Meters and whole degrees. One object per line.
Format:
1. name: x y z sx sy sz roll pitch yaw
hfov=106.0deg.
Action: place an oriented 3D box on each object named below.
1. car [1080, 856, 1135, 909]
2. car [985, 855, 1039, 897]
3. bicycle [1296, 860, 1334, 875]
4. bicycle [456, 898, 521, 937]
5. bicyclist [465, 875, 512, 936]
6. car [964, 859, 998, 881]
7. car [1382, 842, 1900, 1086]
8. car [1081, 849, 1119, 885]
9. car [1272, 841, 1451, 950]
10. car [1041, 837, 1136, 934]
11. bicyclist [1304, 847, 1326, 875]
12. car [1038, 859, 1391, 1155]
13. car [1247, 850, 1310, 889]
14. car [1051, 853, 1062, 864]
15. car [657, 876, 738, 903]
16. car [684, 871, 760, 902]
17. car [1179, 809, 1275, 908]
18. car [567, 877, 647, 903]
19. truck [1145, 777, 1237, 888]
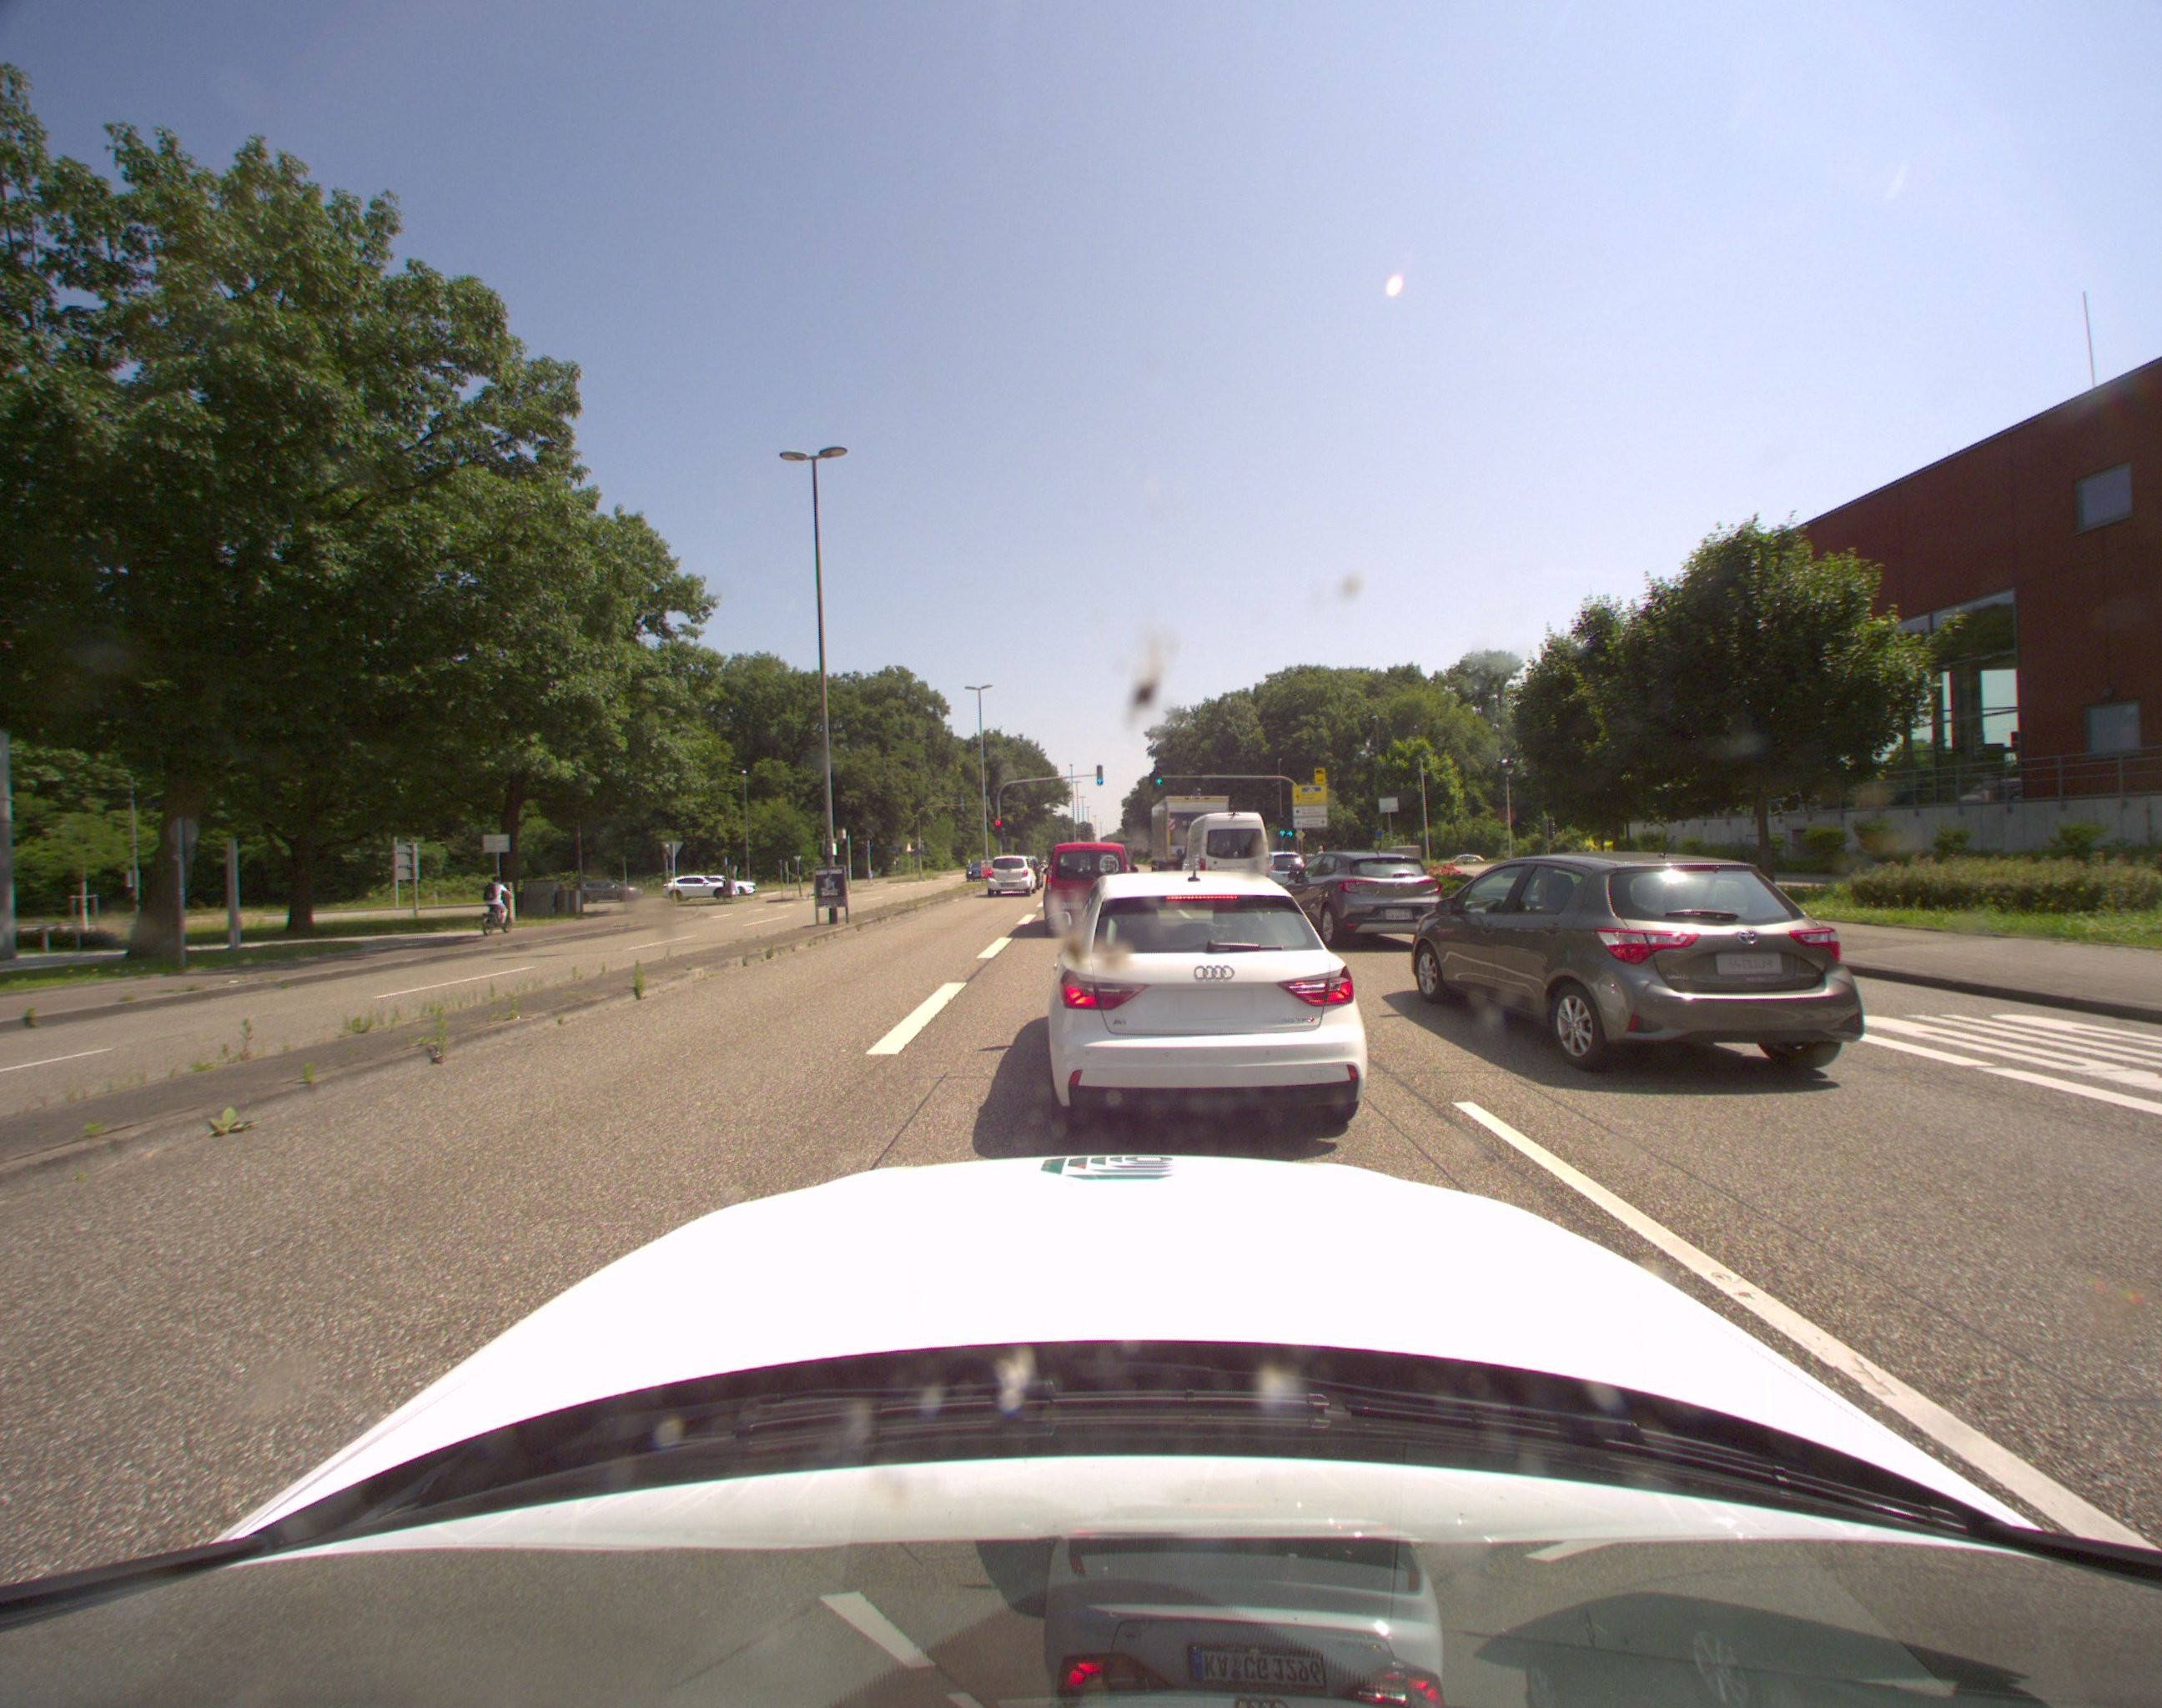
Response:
1. car: 0.837 0.892 27.514 1.706 1.631 4.091 -1 0 0
2. car: -2.627 0.795 31.881 1.706 1.493 4.091 -1 0 0
3. bicycle: 12.105 0.704 42.191 0.604 0.766 1.805 -2 0 -43
4. bicycle: -16.800 1.785 23.146 0.615 0.969 1.659 -2 0 -1
5. bicyclist: -16.841 1.446 23.172 0.606 1.630 0.923 -2 0 -2
6. car: -7.191 1.145 58.730 1.798 1.335 4.000 -6 0 1
7. car: 4.240 0.686 7.104 1.706 1.478 4.091 1 0 0
8. car: 0.880 0.591 39.156 1.706 1.631 4.091 -1 0 0
9. car: 4.698 0.626 14.273 1.706 1.593 4.091 -1 0 0
10. car: 0.139 0.572 16.987 1.706 1.748 4.091 -1 0 0
11. bicyclist: 12.110 0.361 42.162 0.603 1.439 0.819 -2 0 -43
12. car: 0.659 0.755 6.031 1.706 1.386 4.091 -1 0 0
13. car: 8.405 0.618 34.994 1.706 1.546 4.091 -1 0 0
14. car: -4.402 0.775 146.720 1.866 1.861 4.000 -2 0 1
15. car: -24.892 2.305 52.995 4.366 1.681 1.806 0 -1 -7
16. car: -24.981 2.215 56.819 4.367 1.681 1.806 -6 0 -7
17. car: 4.249 0.113 24.482 2.024 2.644 4.845 -1 0 1
18. car: -32.605 2.458 56.178 4.371 1.681 1.804 0 -1 -10
19. truck: 4.892 -0.881 38.700 3.077 4.434 11.584 -1 0 2
